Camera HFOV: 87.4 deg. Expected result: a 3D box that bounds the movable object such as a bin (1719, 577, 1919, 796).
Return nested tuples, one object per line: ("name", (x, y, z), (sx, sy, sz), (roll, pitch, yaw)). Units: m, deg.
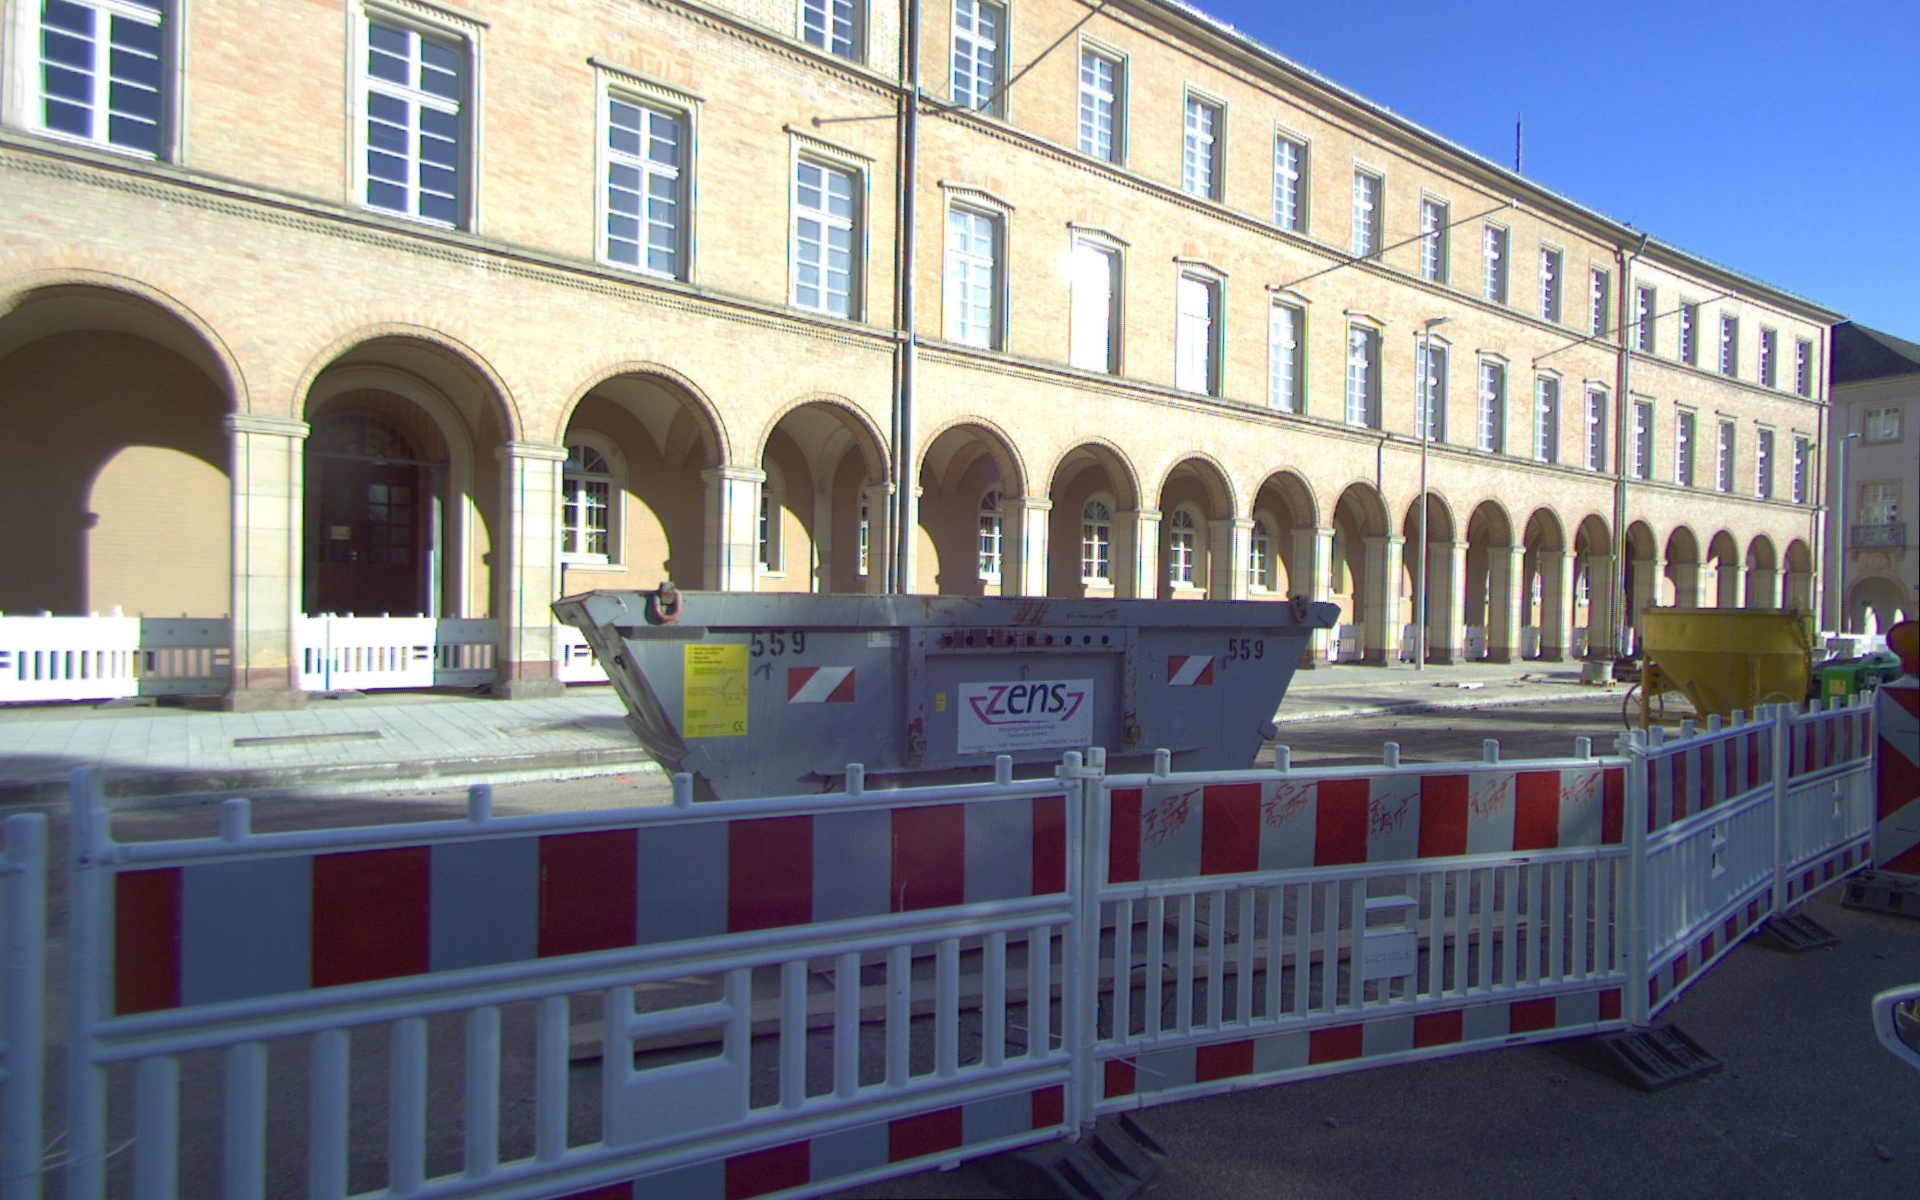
("movable object such as a bin", (10.262, 0.781, 10.596), (4.281, 1.975, 2.041), (0, 1, -29))
